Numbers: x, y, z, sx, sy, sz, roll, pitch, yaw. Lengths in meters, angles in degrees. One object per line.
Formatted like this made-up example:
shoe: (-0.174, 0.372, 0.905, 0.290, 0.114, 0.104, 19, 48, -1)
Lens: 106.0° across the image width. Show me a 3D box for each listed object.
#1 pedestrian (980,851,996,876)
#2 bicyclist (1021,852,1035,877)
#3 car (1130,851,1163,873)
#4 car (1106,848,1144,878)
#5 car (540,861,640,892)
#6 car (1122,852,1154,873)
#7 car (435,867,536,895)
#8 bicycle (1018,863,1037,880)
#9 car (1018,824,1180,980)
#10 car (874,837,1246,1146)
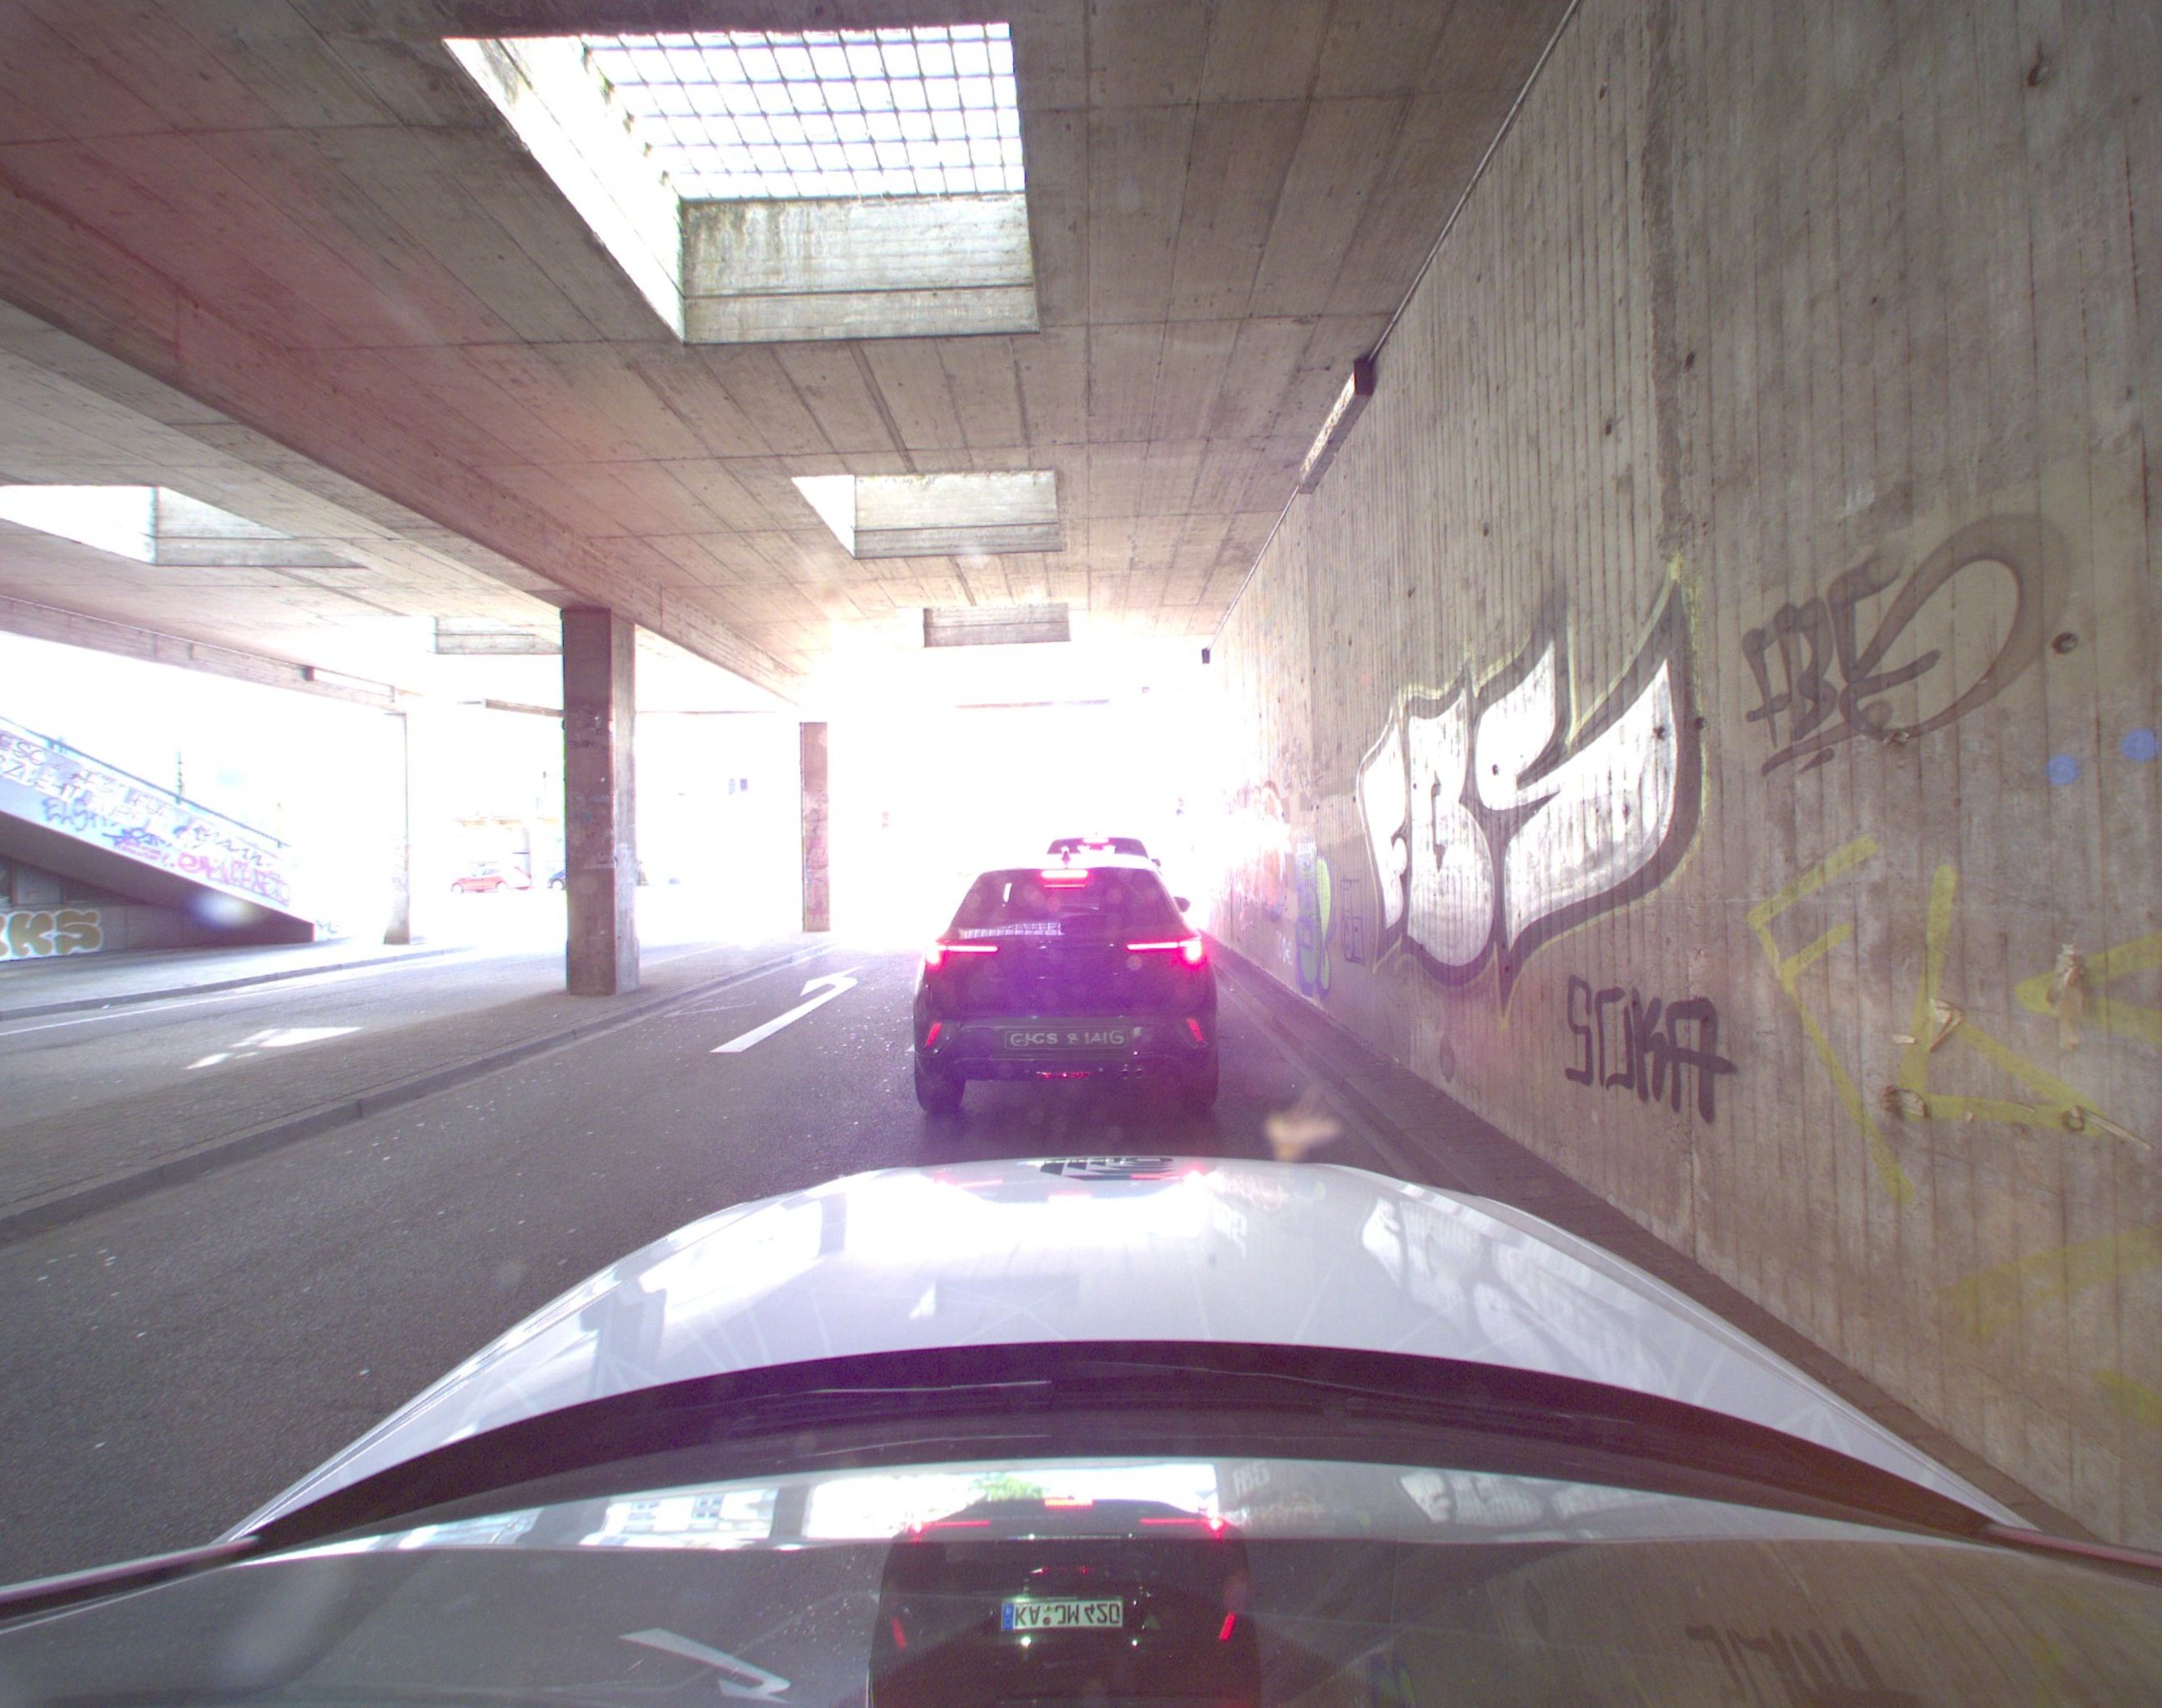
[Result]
pedestrian: (-7.885, 0.809, 69.113, 0.986, 2.013, 1.091, -2, 0, 10)
bicyclist: (-3.376, 0.653, 51.779, 0.724, 1.581, 0.817, -1, -1, 11)
car: (5.592, 0.688, 69.037, 2.206, 1.719, 4.474, -2, -2, 12)
car: (2.411, 0.503, 44.266, 1.959, 1.497, 3.900, -2, -2, 4)
car: (-27.205, 1.203, 45.241, 4.114, 1.550, 2.268, -2, 0, 1)
car: (4.410, 0.643, 62.251, 1.955, 1.497, 3.908, -2, -2, 11)
car: (-33.009, 1.497, 45.241, 3.970, 1.374, 2.192, -2, 0, 3)
bicycle: (-3.385, 1.110, 51.744, 0.727, 1.067, 1.694, -1, -1, 11)
car: (0.285, 0.593, 12.008, 1.938, 1.860, 3.966, -2, 0, 2)
car: (-0.048, 0.710, 6.188, 1.875, 1.538, 3.966, -2, 0, 2)
